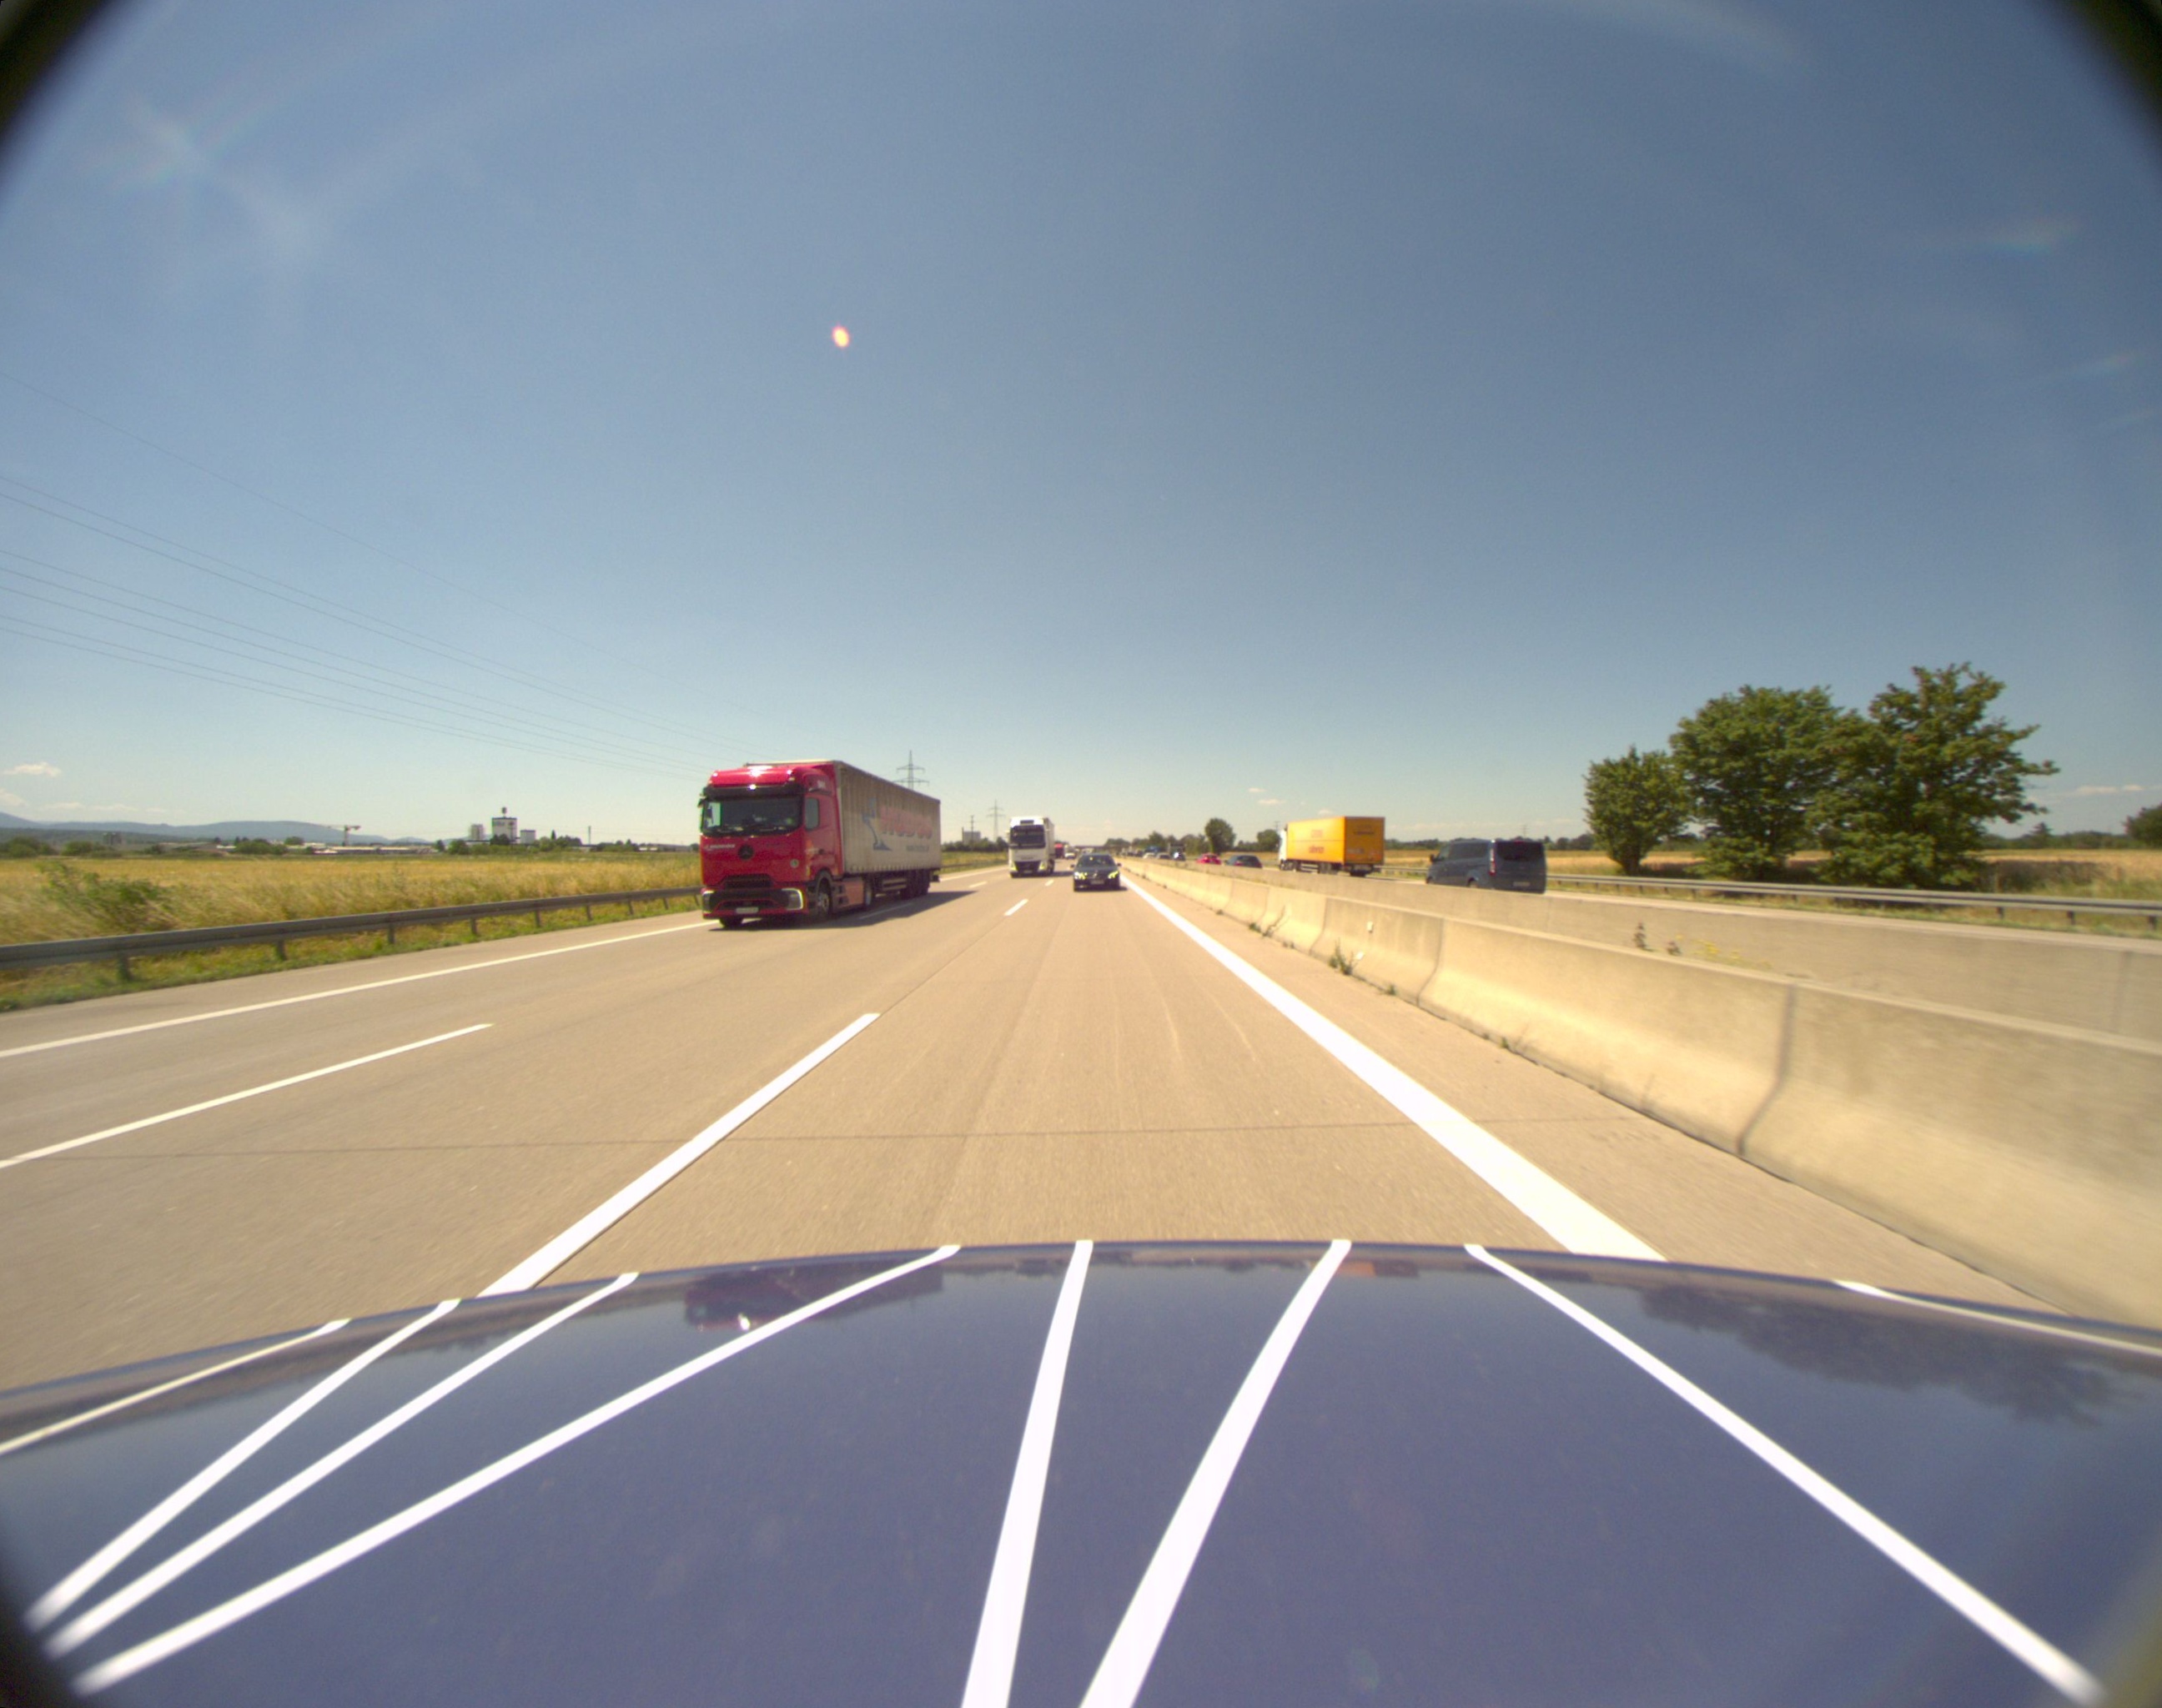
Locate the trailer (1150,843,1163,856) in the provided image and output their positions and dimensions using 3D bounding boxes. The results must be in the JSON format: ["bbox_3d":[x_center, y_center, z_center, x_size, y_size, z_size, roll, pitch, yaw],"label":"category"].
[{"bbox_3d":[19.976,-1.172,200.907,2.521,3.253,9.252,-2,0,0],"label":"trailer"}]

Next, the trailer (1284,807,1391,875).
[{"bbox_3d":[17.688,-0.873,53.837,2.880,4.174,14.139,1,1,1],"label":"trailer"}]

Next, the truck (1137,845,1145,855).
[{"bbox_3d":[20.039,-1.408,254.324,2.328,3.066,6.977,-2,0,1],"label":"truck"}]

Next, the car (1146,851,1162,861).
[{"bbox_3d":[10.763,0.276,112.355,1.998,1.356,4.670,1,0,1],"label":"car"}]

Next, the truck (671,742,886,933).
[{"bbox_3d":[-7.437,-0.366,19.776,2.913,4.077,6.271,-2,0,0],"label":"truck"}]

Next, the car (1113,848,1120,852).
[{"bbox_3d":[11.864,-1.250,254.541,1.784,1.340,4.452,-3,0,-1],"label":"car"}]

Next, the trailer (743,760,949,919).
[{"bbox_3d":[-7.355,-0.390,26.746,2.881,4.077,13.511,-2,0,0],"label":"trailer"}]

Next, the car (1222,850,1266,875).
[{"bbox_3d":[9.553,0.479,44.741,1.694,1.324,4.000,-2,0,1],"label":"car"}]

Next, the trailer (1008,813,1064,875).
[{"bbox_3d":[-3.170,-0.672,58.136,3.025,4.037,14.206,-2,0,1],"label":"trailer"}]

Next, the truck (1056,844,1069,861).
[{"bbox_3d":[-4.969,-0.354,206.584,2.855,4.297,10.886,-2,0,1],"label":"truck"}]

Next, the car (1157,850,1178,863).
[{"bbox_3d":[10.240,0.274,89.990,1.998,1.476,4.710,0,0,1],"label":"car"}]

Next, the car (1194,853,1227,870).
[{"bbox_3d":[10.712,0.592,63.184,1.998,1.386,4.716,1,0,1],"label":"car"}]

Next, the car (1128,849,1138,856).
[{"bbox_3d":[11.812,-0.378,173.462,1.998,1.567,4.848,-2,0,1],"label":"car"}]

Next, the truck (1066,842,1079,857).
[{"bbox_3d":[-2.015,-1.070,178.528,2.784,3.328,7.812,-2,0,0],"label":"truck"}]

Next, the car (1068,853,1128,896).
[{"bbox_3d":[0.560,0.689,28.718,1.998,1.462,6.347,0,0,0],"label":"car"}]

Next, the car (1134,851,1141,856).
[{"bbox_3d":[16.159,-0.112,217.192,1.724,1.440,4.707,-2,0,0],"label":"car"}]

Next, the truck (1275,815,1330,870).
[{"bbox_3d":[17.746,-0.910,61.300,2.875,4.171,5.229,1,1,1],"label":"truck"}]

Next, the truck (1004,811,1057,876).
[{"bbox_3d":[-3.317,-0.676,51.166,2.992,4.039,5.477,-2,0,1],"label":"truck"}]

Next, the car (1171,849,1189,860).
[{"bbox_3d":[14.514,0.020,111.331,1.998,1.551,4.512,2,0,1],"label":"car"}]

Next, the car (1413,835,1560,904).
[{"bbox_3d":[13.284,0.459,25.396,1.936,1.988,5.517,-2,0,1],"label":"car"}]

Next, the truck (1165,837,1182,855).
[{"bbox_3d":[18.540,-1.664,152.257,2.561,3.492,7.884,0,0,0],"label":"truck"}]
